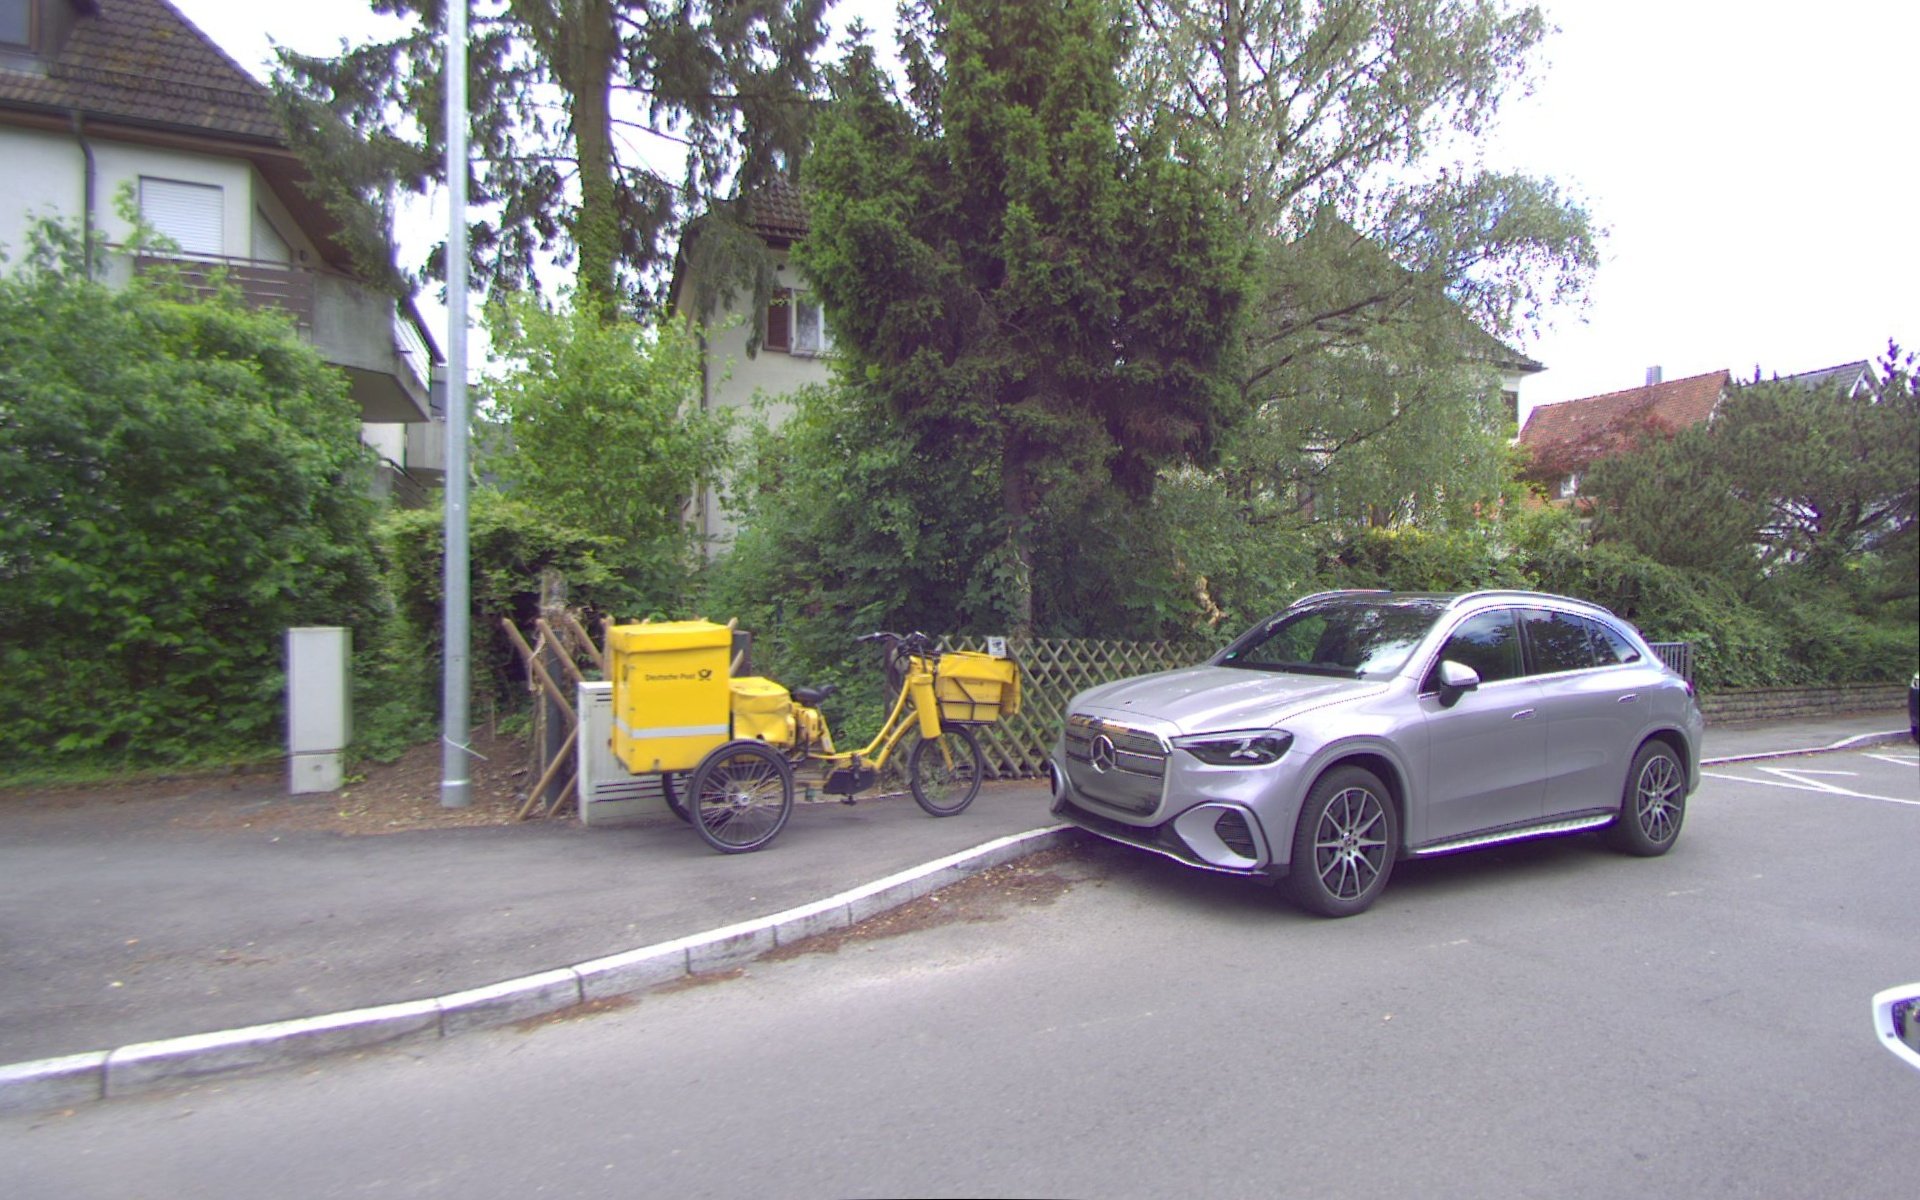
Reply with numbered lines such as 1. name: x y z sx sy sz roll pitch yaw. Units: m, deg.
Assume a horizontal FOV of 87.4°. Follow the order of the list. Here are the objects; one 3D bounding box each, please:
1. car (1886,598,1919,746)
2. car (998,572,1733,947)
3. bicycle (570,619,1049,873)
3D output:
1. car: 13.945 0.926 12.947 4.245 1.823 1.699 1 0 -29
2. car: 2.695 0.735 6.322 4.674 1.628 1.787 1 0 -30
3. bicycle: -0.884 0.763 6.190 2.688 1.246 1.147 1 0 -30
